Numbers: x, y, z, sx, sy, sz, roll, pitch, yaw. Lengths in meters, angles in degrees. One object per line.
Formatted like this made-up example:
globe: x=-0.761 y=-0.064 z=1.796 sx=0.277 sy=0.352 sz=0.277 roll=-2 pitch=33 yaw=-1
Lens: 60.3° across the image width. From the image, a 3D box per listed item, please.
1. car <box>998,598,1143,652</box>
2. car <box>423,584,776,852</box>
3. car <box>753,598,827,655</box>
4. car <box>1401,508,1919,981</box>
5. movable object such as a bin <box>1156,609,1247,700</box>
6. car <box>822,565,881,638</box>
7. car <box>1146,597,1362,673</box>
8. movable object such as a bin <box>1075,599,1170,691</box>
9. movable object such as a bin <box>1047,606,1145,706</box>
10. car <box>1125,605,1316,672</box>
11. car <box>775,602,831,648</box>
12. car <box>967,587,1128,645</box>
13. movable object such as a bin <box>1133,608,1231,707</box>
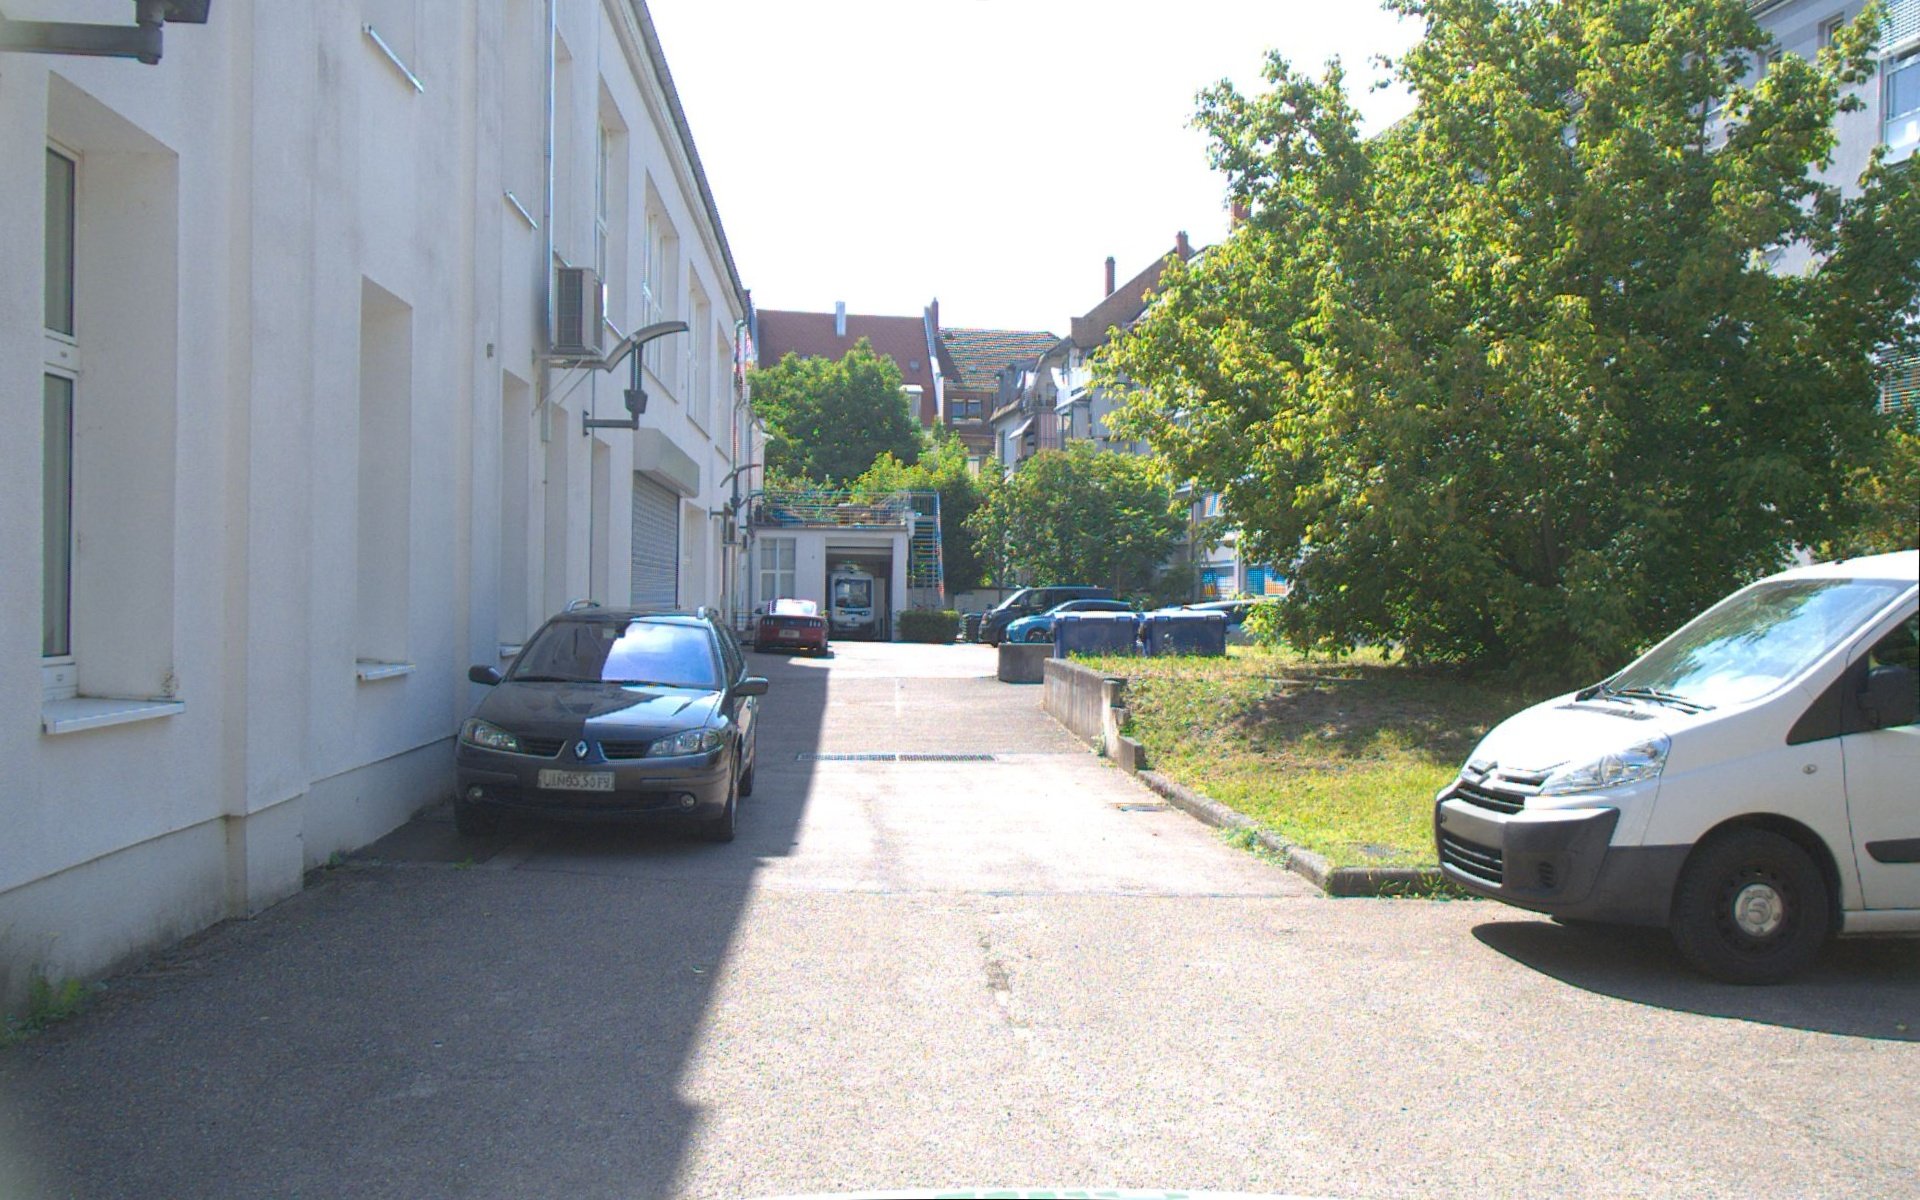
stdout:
car: x=3.375 y=0.748 z=50.961 sx=4.149 sy=1.559 sz=1.997 roll=0 pitch=1 yaw=-8
car: x=-2.323 y=0.745 z=11.790 sx=1.801 sy=1.467 sz=4.425 roll=3 pitch=-2 yaw=-5
car: x=-4.417 y=0.659 z=43.339 sx=1.816 sy=1.342 sz=3.996 roll=2 pitch=0 yaw=-5
car: x=4.881 y=0.626 z=8.011 sx=4.924 sy=1.967 sz=1.999 roll=1 pitch=0 yaw=-3
movable object such as a bin: x=3.711 y=0.819 z=25.496 sx=1.133 sy=1.360 sz=1.140 roll=0 pitch=0 yaw=-7
car: x=-4.153 y=0.081 z=63.229 sx=2.131 sy=2.652 sz=6.729 roll=0 pitch=0 yaw=-4
car: x=5.836 y=0.671 z=33.100 sx=3.911 sy=1.452 sz=1.809 roll=0 pitch=0 yaw=-7
movable object such as a bin: x=2.472 y=0.672 z=25.274 sx=1.223 sy=1.379 sz=1.127 roll=0 pitch=0 yaw=-7
movable object such as a bin: x=1.915 y=0.790 z=23.439 sx=1.222 sy=1.342 sz=1.141 roll=-2 pitch=-1 yaw=-2
car: x=5.715 y=0.825 z=36.527 sx=3.909 sy=1.418 sz=1.687 roll=0 pitch=0 yaw=-5
car: x=-4.732 y=0.740 z=50.332 sx=1.582 sy=1.318 sz=3.756 roll=0 pitch=0 yaw=-4
car: x=2.865 y=0.490 z=54.180 sx=4.872 sy=1.798 sz=2.087 roll=-1 pitch=1 yaw=-17
movable object such as a bin: x=3.134 y=0.804 z=23.514 sx=1.222 sy=1.364 sz=1.142 roll=0 pitch=0 yaw=-2
